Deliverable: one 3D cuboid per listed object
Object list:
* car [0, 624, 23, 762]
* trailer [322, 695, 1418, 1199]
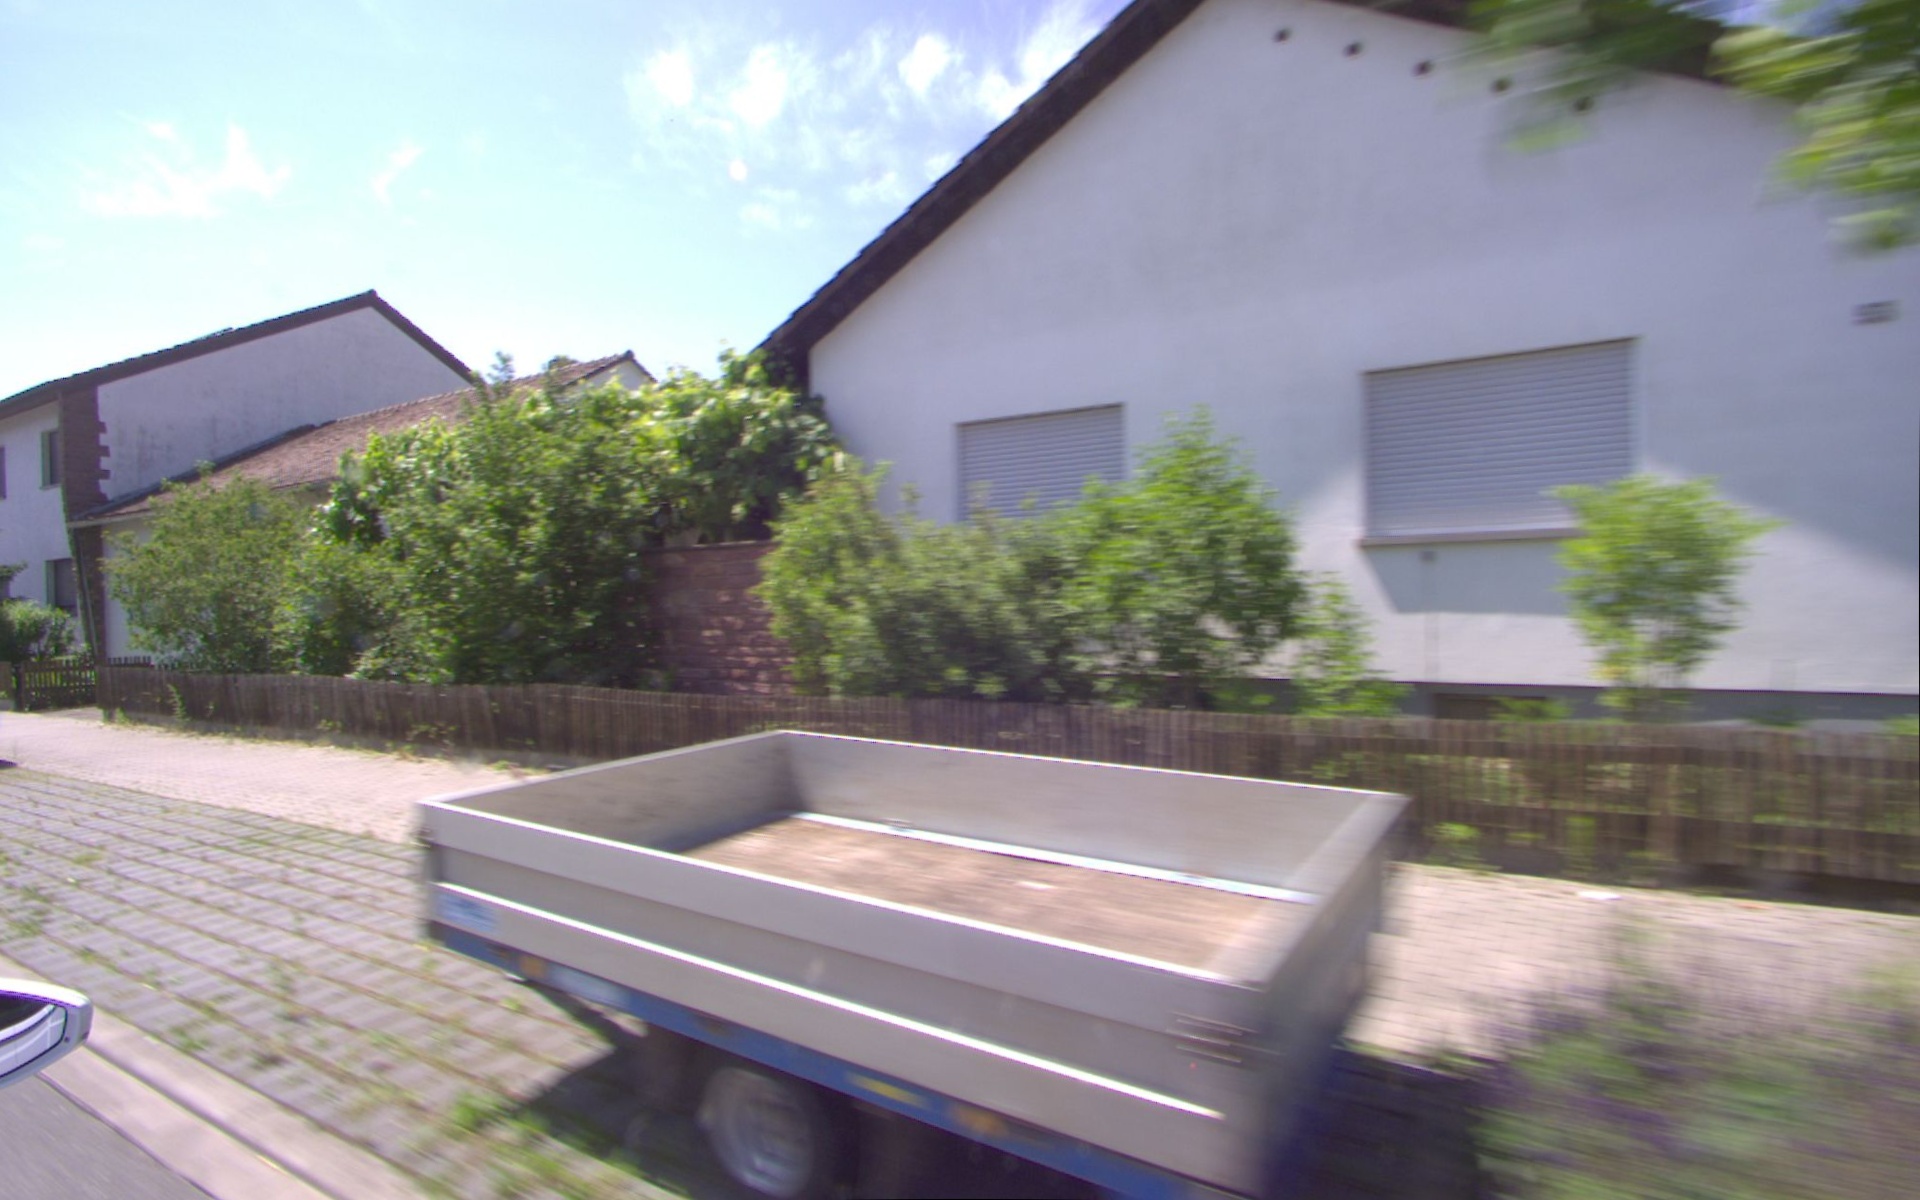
[{"bbox_3d":[-12.003,0.996,10.842,3.813,1.439,1.810,-1,0,32],"label":"car"},{"bbox_3d":[-0.291,0.952,3.058,2.858,1.072,1.783,-1,0,33],"label":"trailer"}]
